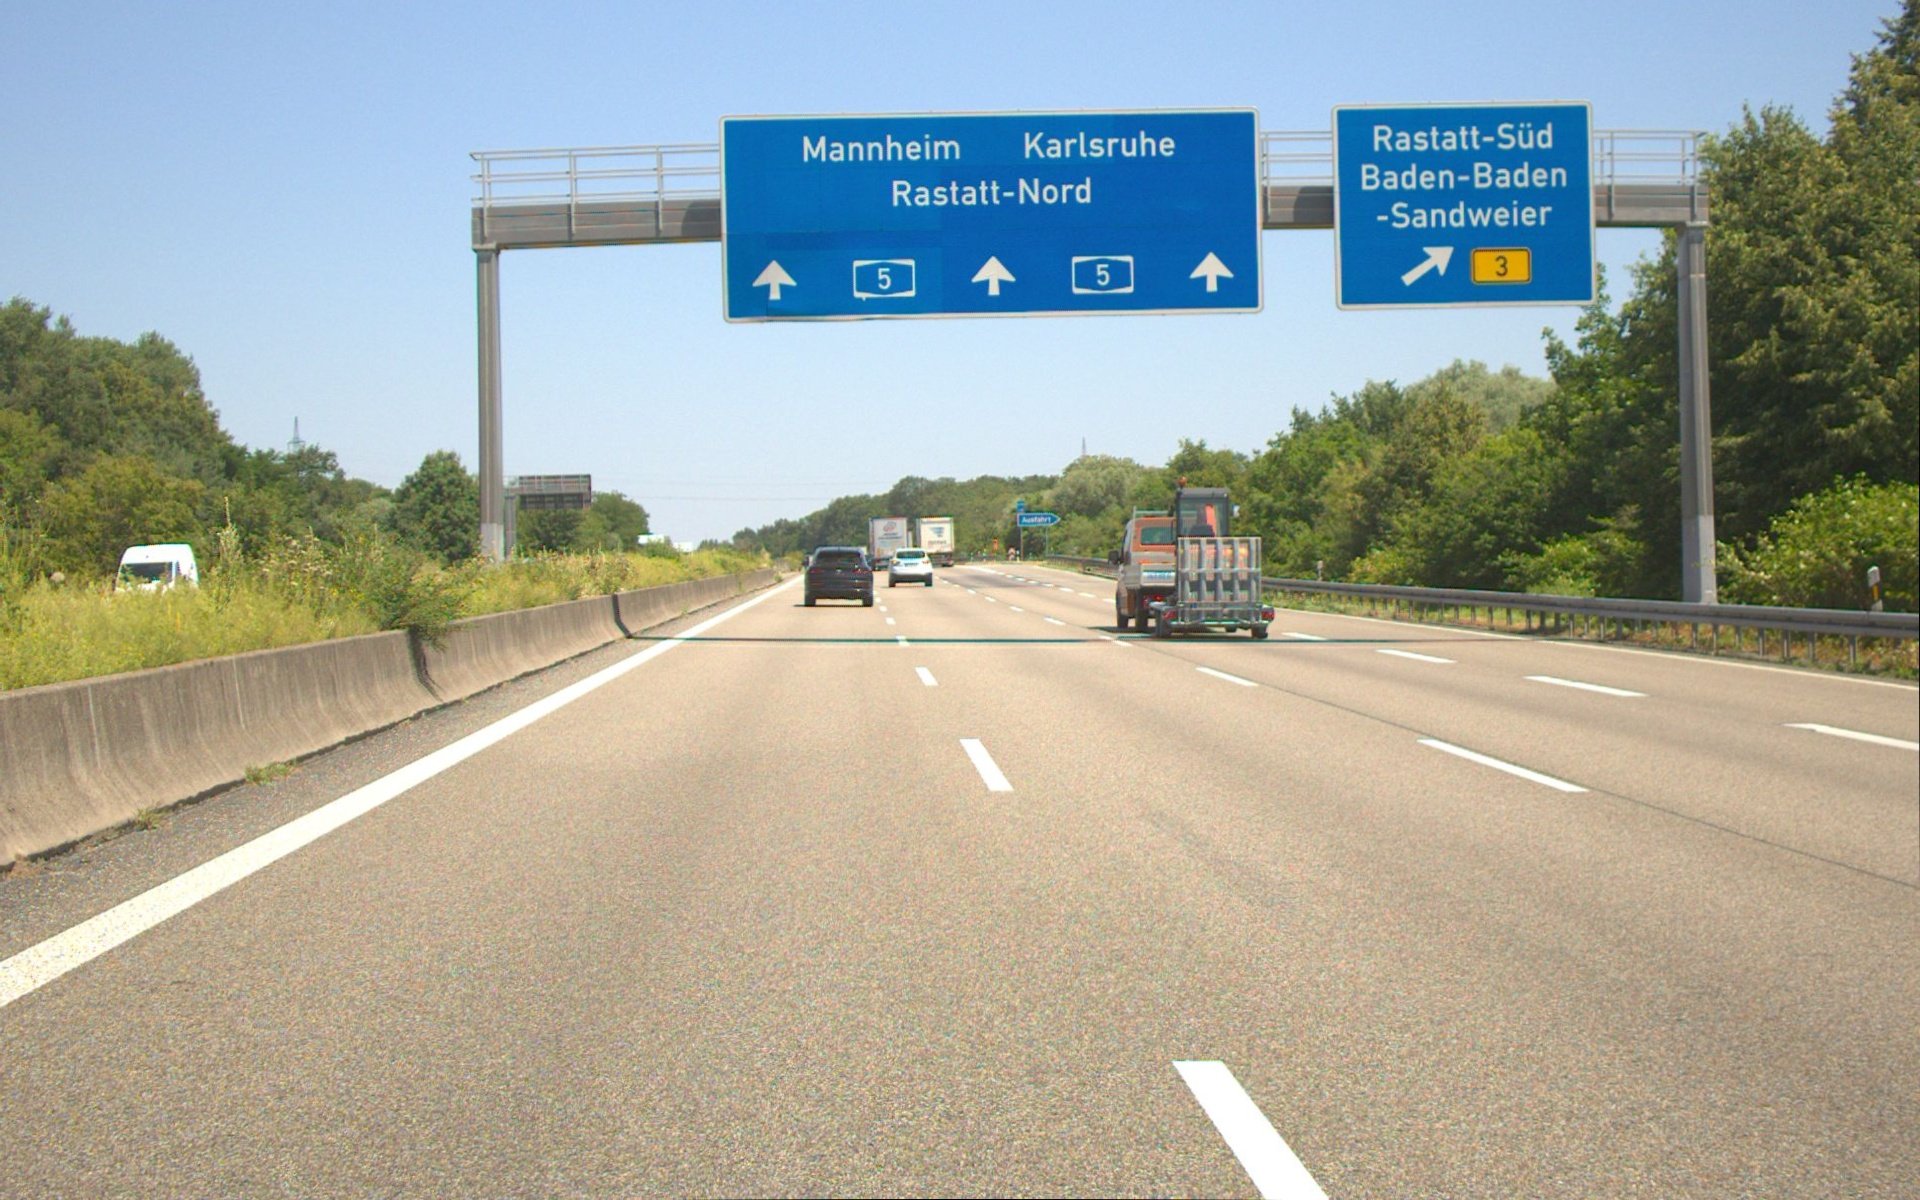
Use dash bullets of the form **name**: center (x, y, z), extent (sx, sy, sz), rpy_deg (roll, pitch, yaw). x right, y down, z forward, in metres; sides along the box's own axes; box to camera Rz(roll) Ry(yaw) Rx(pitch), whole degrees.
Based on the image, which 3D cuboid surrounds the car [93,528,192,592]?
- **car**: center (-26.339, -1.295, 110.883), extent (1.993, 2.007, 5.186), rpy_deg (0, 1, 0)

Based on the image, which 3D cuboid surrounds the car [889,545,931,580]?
- **car**: center (-2.175, -1.622, 148.917), extent (1.740, 1.481, 4.000), rpy_deg (0, 0, -2)

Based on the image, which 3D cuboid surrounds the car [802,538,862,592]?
- **car**: center (-3.754, -1.036, 100.307), extent (1.660, 1.544, 3.784), rpy_deg (-1, 1, -3)

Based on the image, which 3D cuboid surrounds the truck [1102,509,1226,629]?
- **truck**: center (4.121, -0.649, 70.136), extent (1.993, 2.365, 4.645), rpy_deg (0, 1, -3)

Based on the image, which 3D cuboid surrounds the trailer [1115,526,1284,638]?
- **trailer**: center (4.440, -0.374, 64.782), extent (2.420, 2.007, 6.034), rpy_deg (0, 1, -3)

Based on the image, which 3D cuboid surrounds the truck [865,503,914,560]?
- **truck**: center (-5.245, -5.002, 252.742), extent (3.309, 3.980, 8.405), rpy_deg (1, 0, -3)
